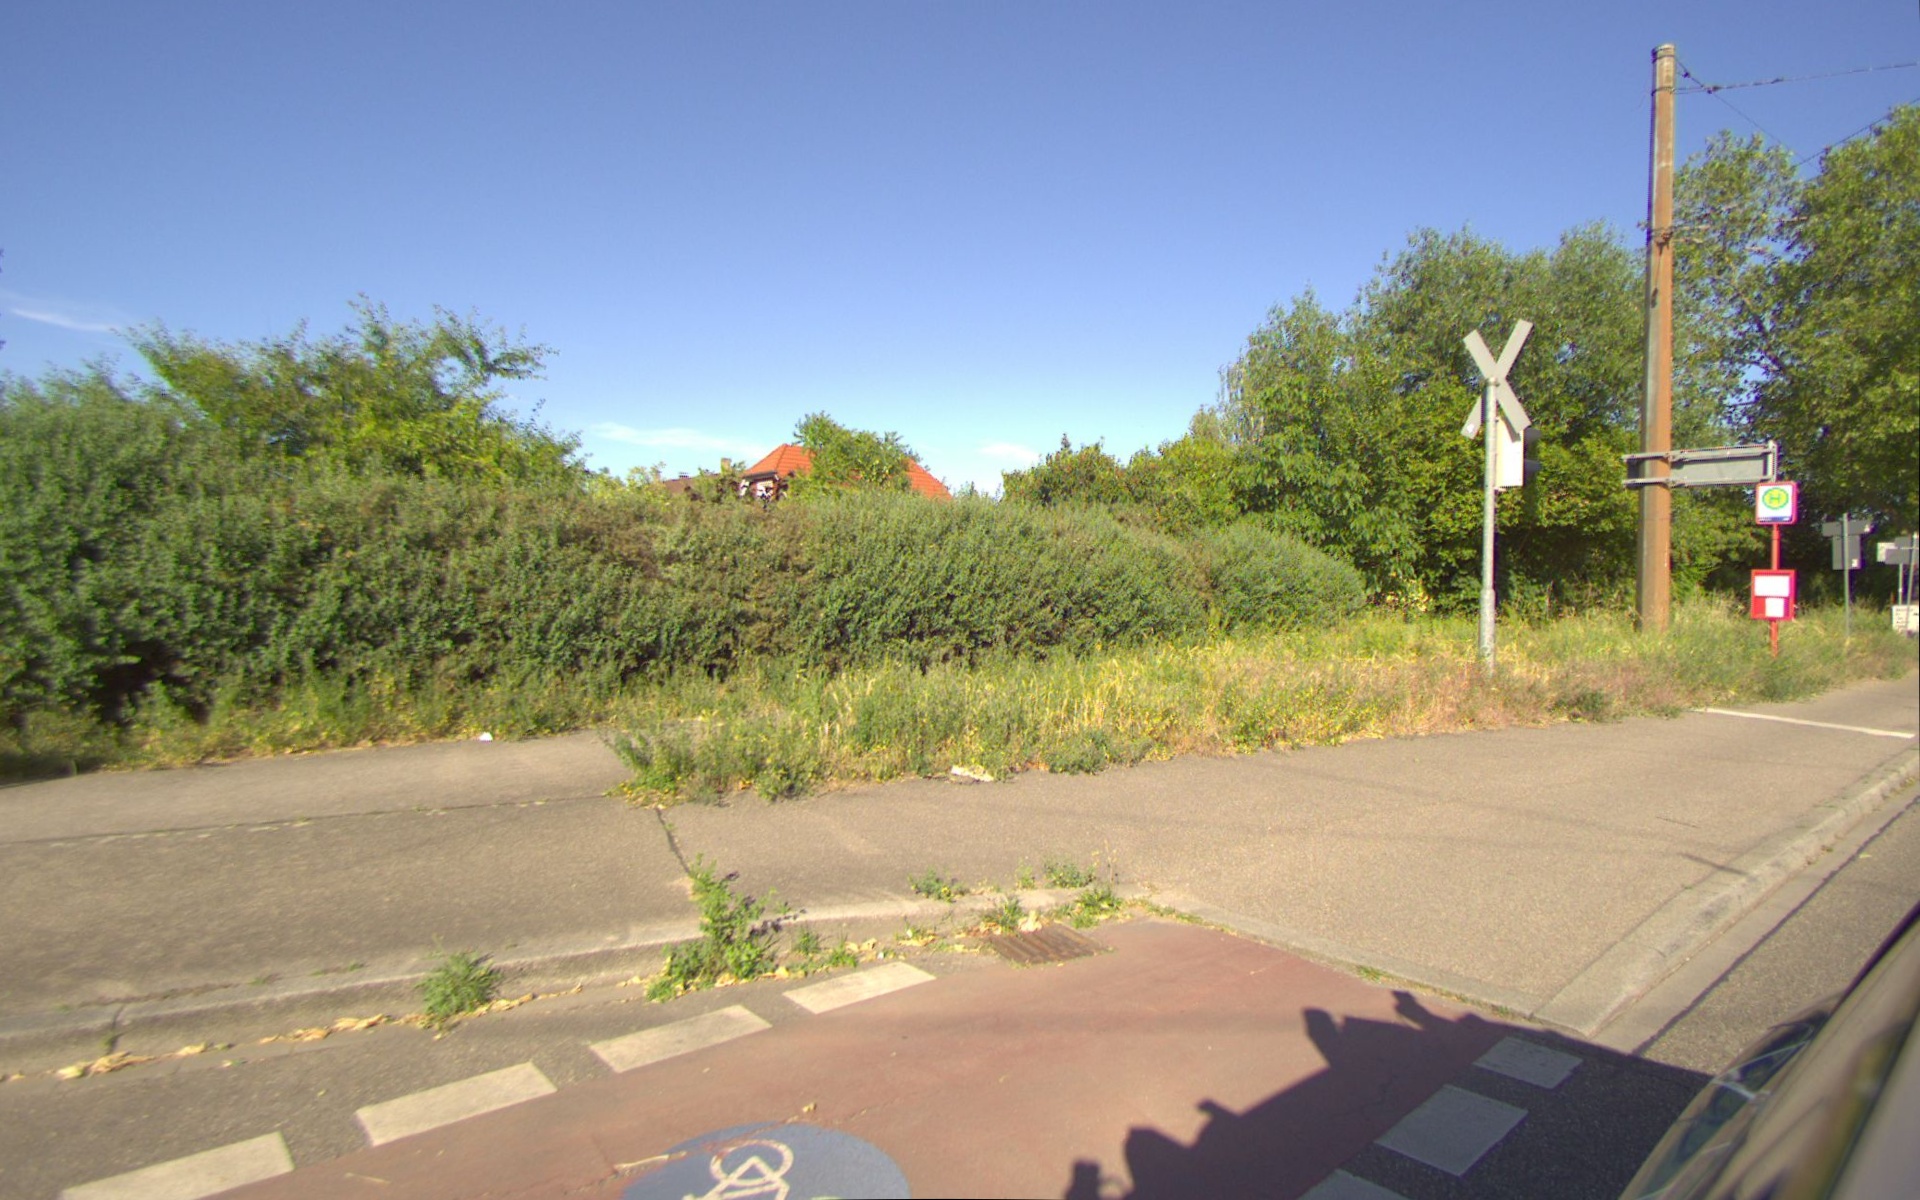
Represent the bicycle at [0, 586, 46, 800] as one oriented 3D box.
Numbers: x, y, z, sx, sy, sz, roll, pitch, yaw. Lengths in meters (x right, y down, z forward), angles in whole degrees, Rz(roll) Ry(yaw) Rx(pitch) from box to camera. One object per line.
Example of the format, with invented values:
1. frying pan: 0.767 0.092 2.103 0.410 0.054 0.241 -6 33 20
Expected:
1. bicycle: -5.952 0.509 5.048 2.059 1.149 0.366 0 2 -42
